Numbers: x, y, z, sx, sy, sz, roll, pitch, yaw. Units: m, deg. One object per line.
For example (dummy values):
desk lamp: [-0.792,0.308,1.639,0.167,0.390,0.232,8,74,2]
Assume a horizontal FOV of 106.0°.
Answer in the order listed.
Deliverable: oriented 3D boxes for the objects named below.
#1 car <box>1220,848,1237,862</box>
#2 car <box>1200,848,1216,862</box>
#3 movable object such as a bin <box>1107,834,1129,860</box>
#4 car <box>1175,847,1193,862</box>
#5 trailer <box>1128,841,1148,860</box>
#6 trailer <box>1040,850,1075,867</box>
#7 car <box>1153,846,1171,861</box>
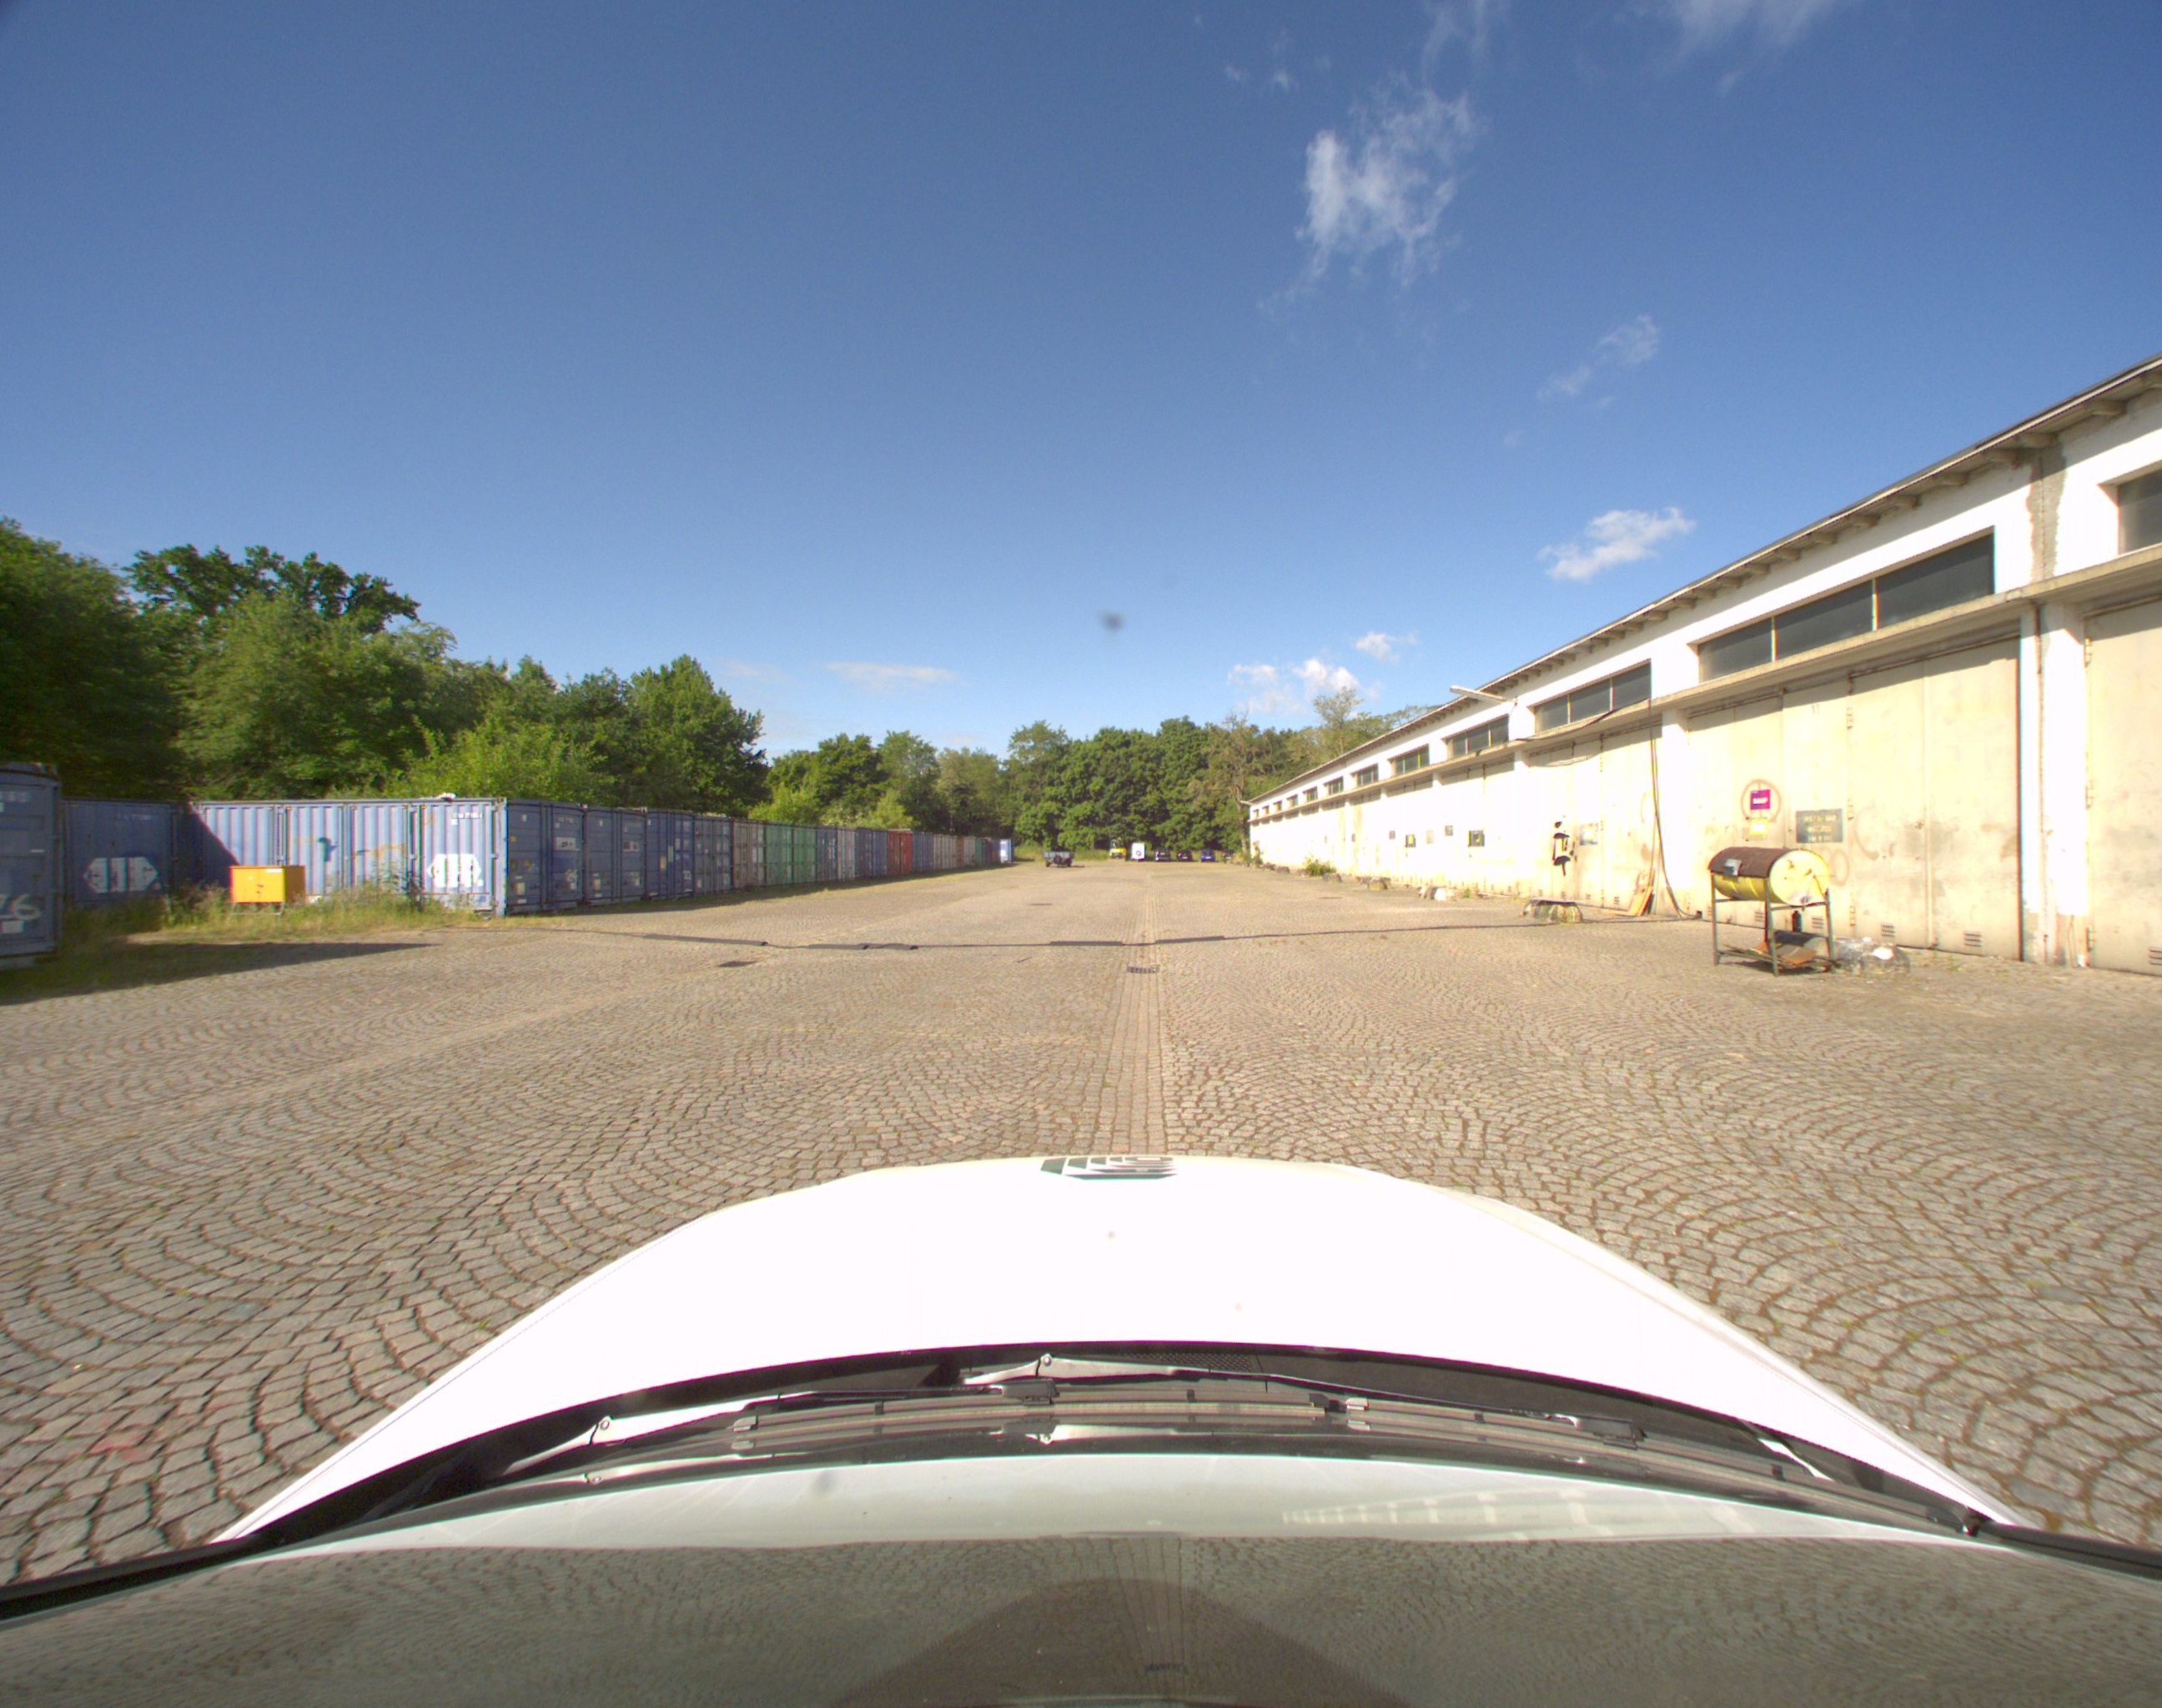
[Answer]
car: [16.973,0.073,93.528,1.733,1.436,4.197,1,2,11]
car: [14.421,0.103,92.296,1.733,1.436,4.195,1,2,10]
movable object such as a bin: [4.367,-0.890,95.684,2.295,2.896,5.760,1,2,5]
car: [11.678,0.035,92.552,1.855,1.470,4.301,1,2,4]
trailer: [6.683,-0.442,94.925,2.183,2.094,5.759,1,2,4]
trailer: [-2.139,0.375,75.390,2.694,1.465,6.253,1,1,3]
car: [9.174,-0.044,92.361,1.855,1.589,4.301,1,2,4]
